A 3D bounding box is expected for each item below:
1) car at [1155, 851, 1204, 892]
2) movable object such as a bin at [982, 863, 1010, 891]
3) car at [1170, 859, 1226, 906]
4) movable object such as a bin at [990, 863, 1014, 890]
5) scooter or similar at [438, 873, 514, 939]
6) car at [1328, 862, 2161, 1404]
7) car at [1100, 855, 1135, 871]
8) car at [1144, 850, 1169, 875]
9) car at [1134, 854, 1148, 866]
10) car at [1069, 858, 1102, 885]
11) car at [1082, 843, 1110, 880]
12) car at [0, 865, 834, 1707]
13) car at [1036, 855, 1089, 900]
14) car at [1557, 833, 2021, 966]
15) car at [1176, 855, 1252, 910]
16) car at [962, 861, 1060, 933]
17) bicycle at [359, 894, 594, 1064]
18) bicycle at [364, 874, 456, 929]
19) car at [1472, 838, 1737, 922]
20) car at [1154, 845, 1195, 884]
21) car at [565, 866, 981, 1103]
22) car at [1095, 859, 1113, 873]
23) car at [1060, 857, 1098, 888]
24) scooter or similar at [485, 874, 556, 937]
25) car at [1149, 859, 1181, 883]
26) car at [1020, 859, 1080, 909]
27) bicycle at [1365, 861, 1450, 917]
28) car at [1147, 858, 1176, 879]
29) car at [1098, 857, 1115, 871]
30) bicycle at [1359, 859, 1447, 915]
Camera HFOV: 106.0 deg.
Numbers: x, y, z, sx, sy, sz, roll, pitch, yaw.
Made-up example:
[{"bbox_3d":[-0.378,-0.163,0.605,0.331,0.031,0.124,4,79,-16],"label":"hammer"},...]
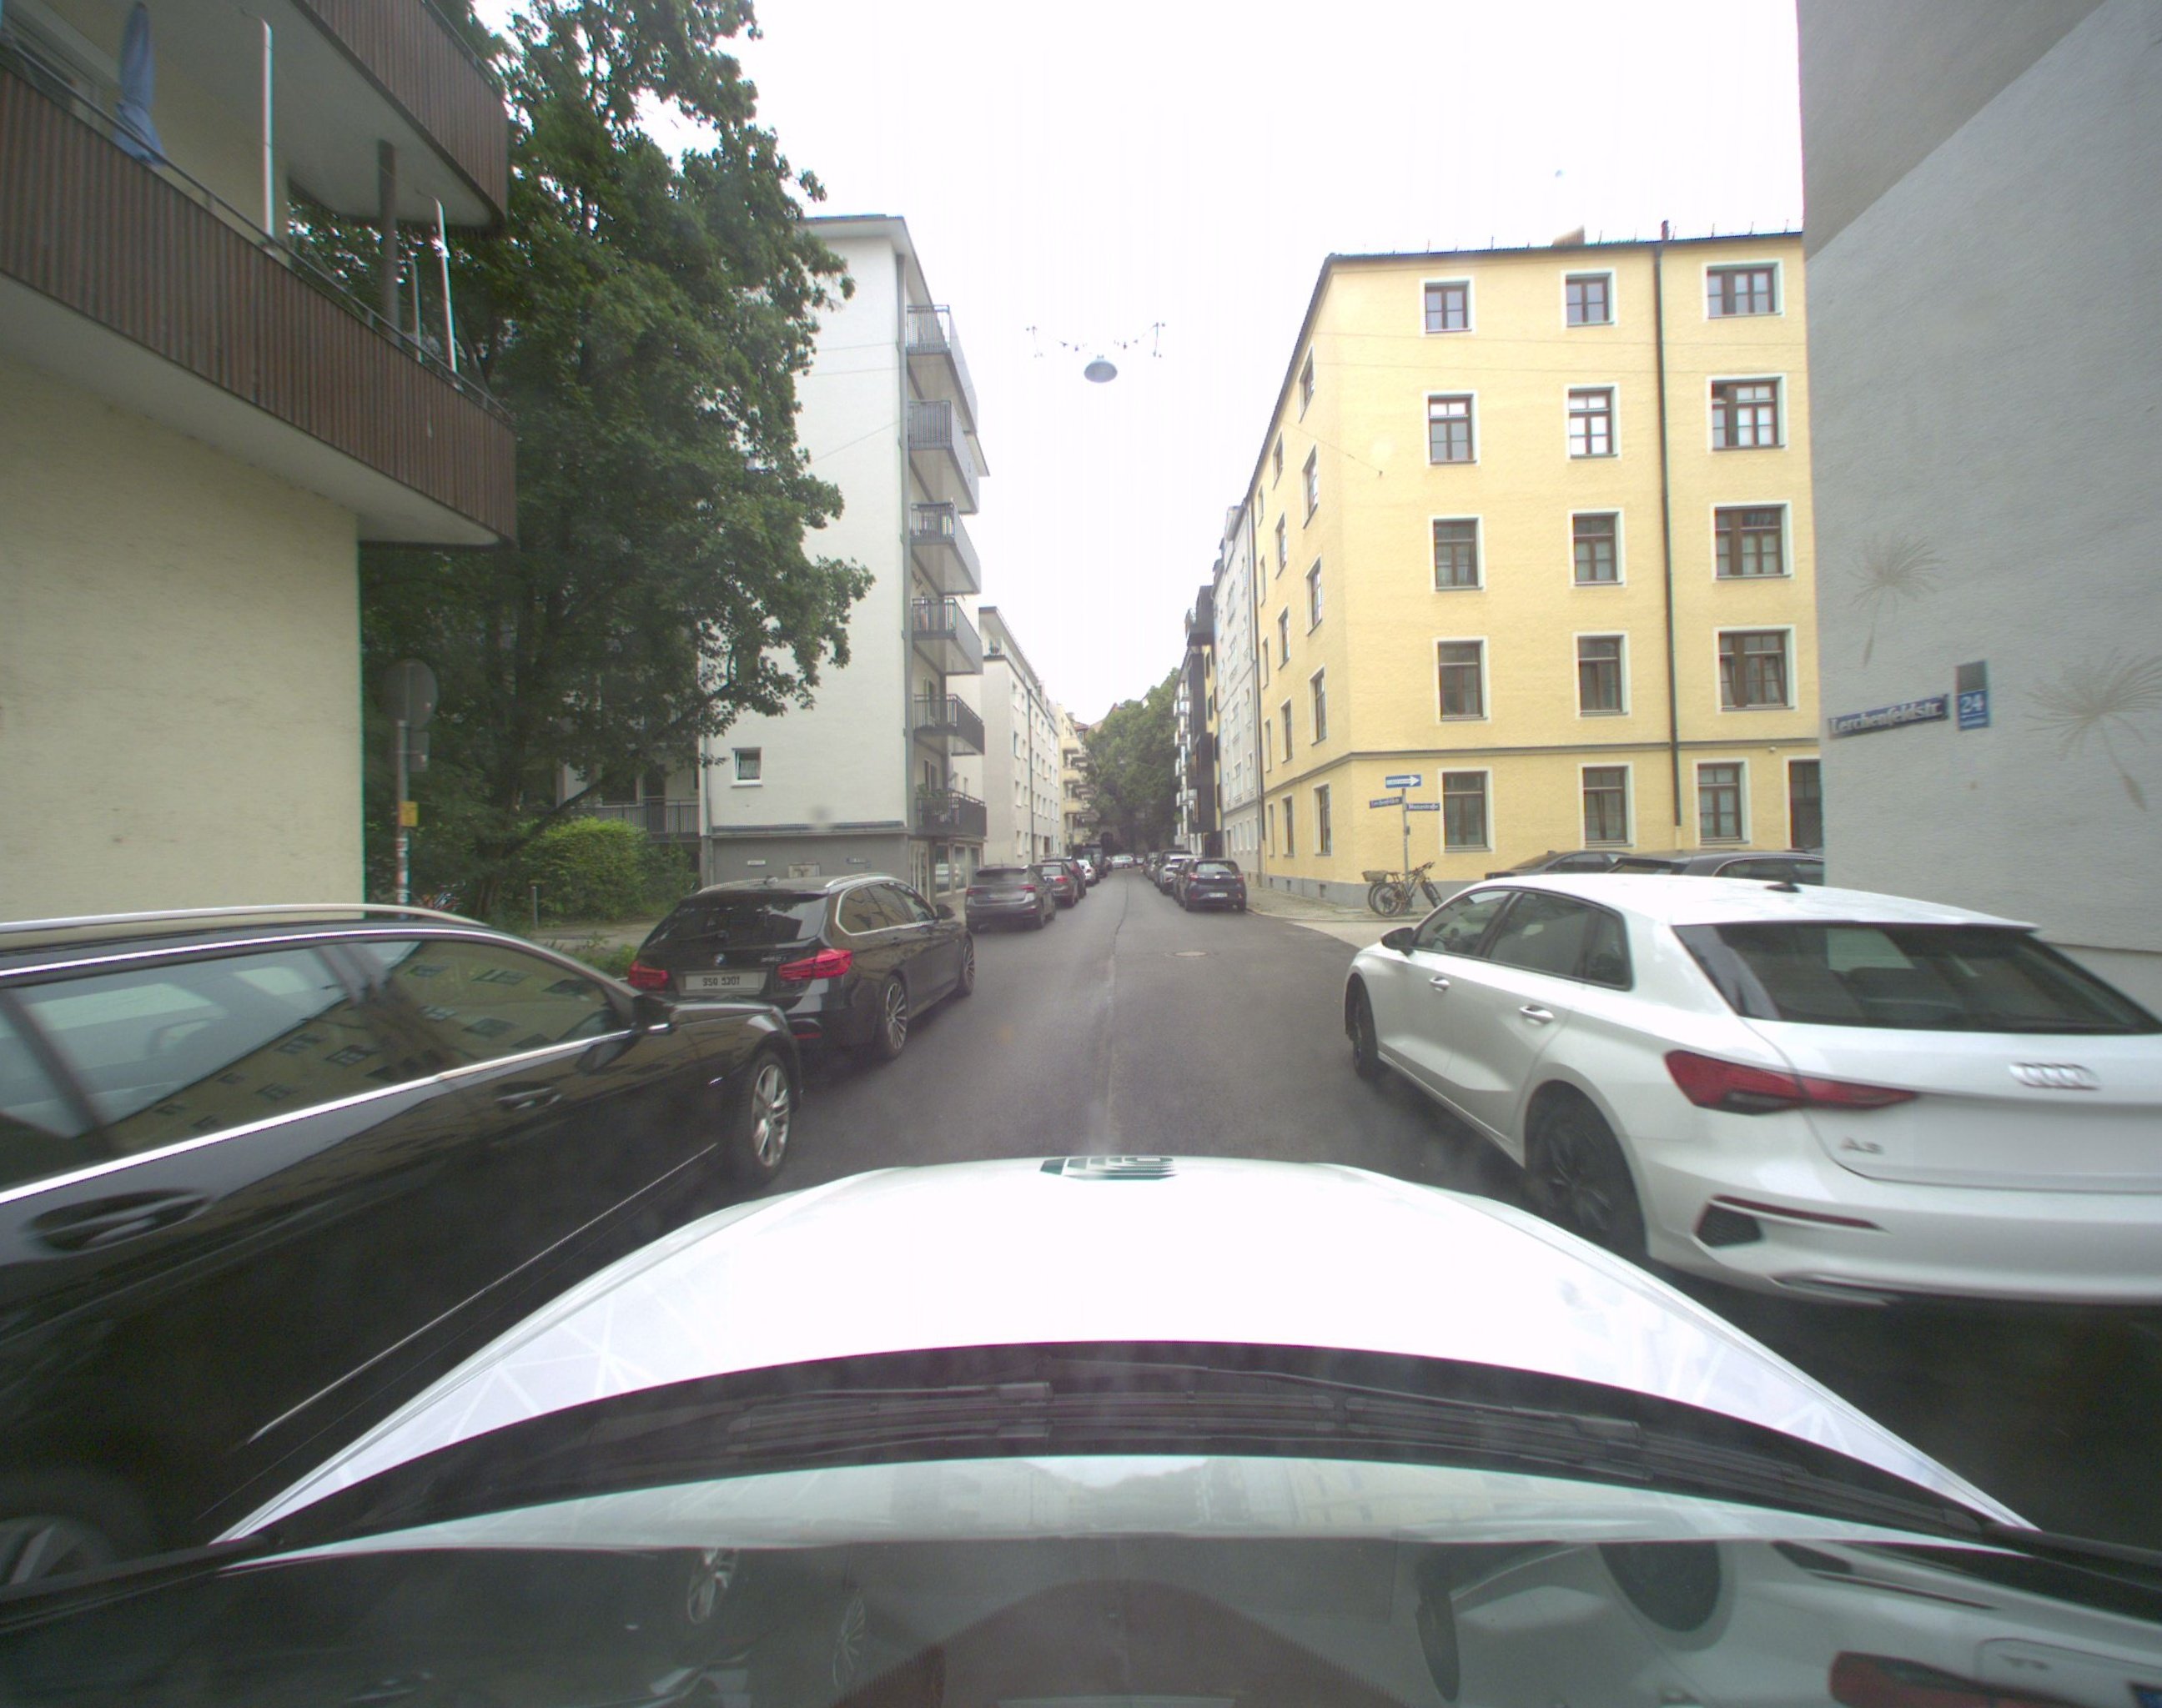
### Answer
[{"bbox_3d":[4.076,0.686,34.229,1.675,1.567,4.418,1,0,2],"label":"car"},{"bbox_3d":[-4.427,1.187,42.379,1.160,1.337,1.027,-4,-1,5],"label":"movable object such as a bin"},{"bbox_3d":[4.051,0.945,28.657,1.656,1.469,3.822,1,0,4],"label":"car"},{"bbox_3d":[-4.217,1.174,43.449,1.042,1.337,0.995,-4,-1,6],"label":"movable object such as a bin"},{"bbox_3d":[-12.454,1.044,16.816,0.343,1.244,1.546,-2,0,2],"label":"scooter or similar"},{"bbox_3d":[2.687,0.762,4.145,1.812,1.408,3.954,-1,0,2],"label":"car"},{"bbox_3d":[4.248,1.010,94.233,3.871,1.584,1.648,-4,-1,1],"label":"car"},{"bbox_3d":[6.277,0.715,68.283,1.822,1.999,4.418,1,0,3],"label":"car"},{"bbox_3d":[8.202,0.818,111.197,1.636,1.383,3.748,-4,0,3],"label":"car"},{"bbox_3d":[0.337,1.054,50.996,1.770,1.453,4.049,-4,0,3],"label":"car"},{"bbox_3d":[1.249,0.589,65.577,1.929,2.801,4.535,-4,-1,3],"label":"car"},{"bbox_3d":[-2.453,0.814,2.405,1.758,1.483,4.428,-2,-1,4],"label":"car"},{"bbox_3d":[-0.662,0.893,32.908,1.769,1.629,4.417,-3,0,3],"label":"car"},{"bbox_3d":[8.716,0.495,10.334,4.191,1.399,2.000,-2,1,-1],"label":"car"},{"bbox_3d":[3.870,0.791,24.389,1.744,1.469,4.346,1,0,3],"label":"car"},{"bbox_3d":[-1.548,0.939,19.402,1.685,1.442,3.946,-3,0,4],"label":"car"},{"bbox_3d":[-5.016,0.970,6.930,0.533,1.161,1.790,-3,-1,3],"label":"bicycle"},{"bbox_3d":[-13.834,0.955,16.846,0.512,1.039,1.609,-2,0,2],"label":"bicycle"},{"bbox_3d":[10.423,0.519,16.436,4.197,1.494,1.712,-2,-1,1],"label":"car"},{"bbox_3d":[4.744,0.519,41.853,1.821,1.910,4.419,0,0,3],"label":"car"},{"bbox_3d":[-2.282,0.884,7.467,1.848,1.408,4.387,-3,0,4],"label":"car"},{"bbox_3d":[2.405,1.224,84.435,1.636,1.383,3.485,-4,0,3],"label":"car"},{"bbox_3d":[-0.060,1.008,45.869,1.769,1.487,4.523,-4,0,4],"label":"car"},{"bbox_3d":[-11.651,1.048,16.986,0.320,1.202,1.571,-2,0,2],"label":"scooter or similar"},{"bbox_3d":[5.389,1.075,52.598,1.822,1.454,4.418,1,0,3],"label":"car"},{"bbox_3d":[-0.958,0.941,27.084,1.687,1.442,3.979,-3,0,2],"label":"car"},{"bbox_3d":[7.289,0.780,18.205,1.706,1.139,0.374,-3,1,2],"label":"bicycle"},{"bbox_3d":[5.703,1.005,58.079,1.822,1.454,4.418,1,0,3],"label":"car"},{"bbox_3d":[2.782,1.111,88.222,1.636,1.383,3.485,-4,0,3],"label":"car"},{"bbox_3d":[7.388,0.748,18.722,1.802,1.174,0.505,-3,1,0],"label":"bicycle"}]
